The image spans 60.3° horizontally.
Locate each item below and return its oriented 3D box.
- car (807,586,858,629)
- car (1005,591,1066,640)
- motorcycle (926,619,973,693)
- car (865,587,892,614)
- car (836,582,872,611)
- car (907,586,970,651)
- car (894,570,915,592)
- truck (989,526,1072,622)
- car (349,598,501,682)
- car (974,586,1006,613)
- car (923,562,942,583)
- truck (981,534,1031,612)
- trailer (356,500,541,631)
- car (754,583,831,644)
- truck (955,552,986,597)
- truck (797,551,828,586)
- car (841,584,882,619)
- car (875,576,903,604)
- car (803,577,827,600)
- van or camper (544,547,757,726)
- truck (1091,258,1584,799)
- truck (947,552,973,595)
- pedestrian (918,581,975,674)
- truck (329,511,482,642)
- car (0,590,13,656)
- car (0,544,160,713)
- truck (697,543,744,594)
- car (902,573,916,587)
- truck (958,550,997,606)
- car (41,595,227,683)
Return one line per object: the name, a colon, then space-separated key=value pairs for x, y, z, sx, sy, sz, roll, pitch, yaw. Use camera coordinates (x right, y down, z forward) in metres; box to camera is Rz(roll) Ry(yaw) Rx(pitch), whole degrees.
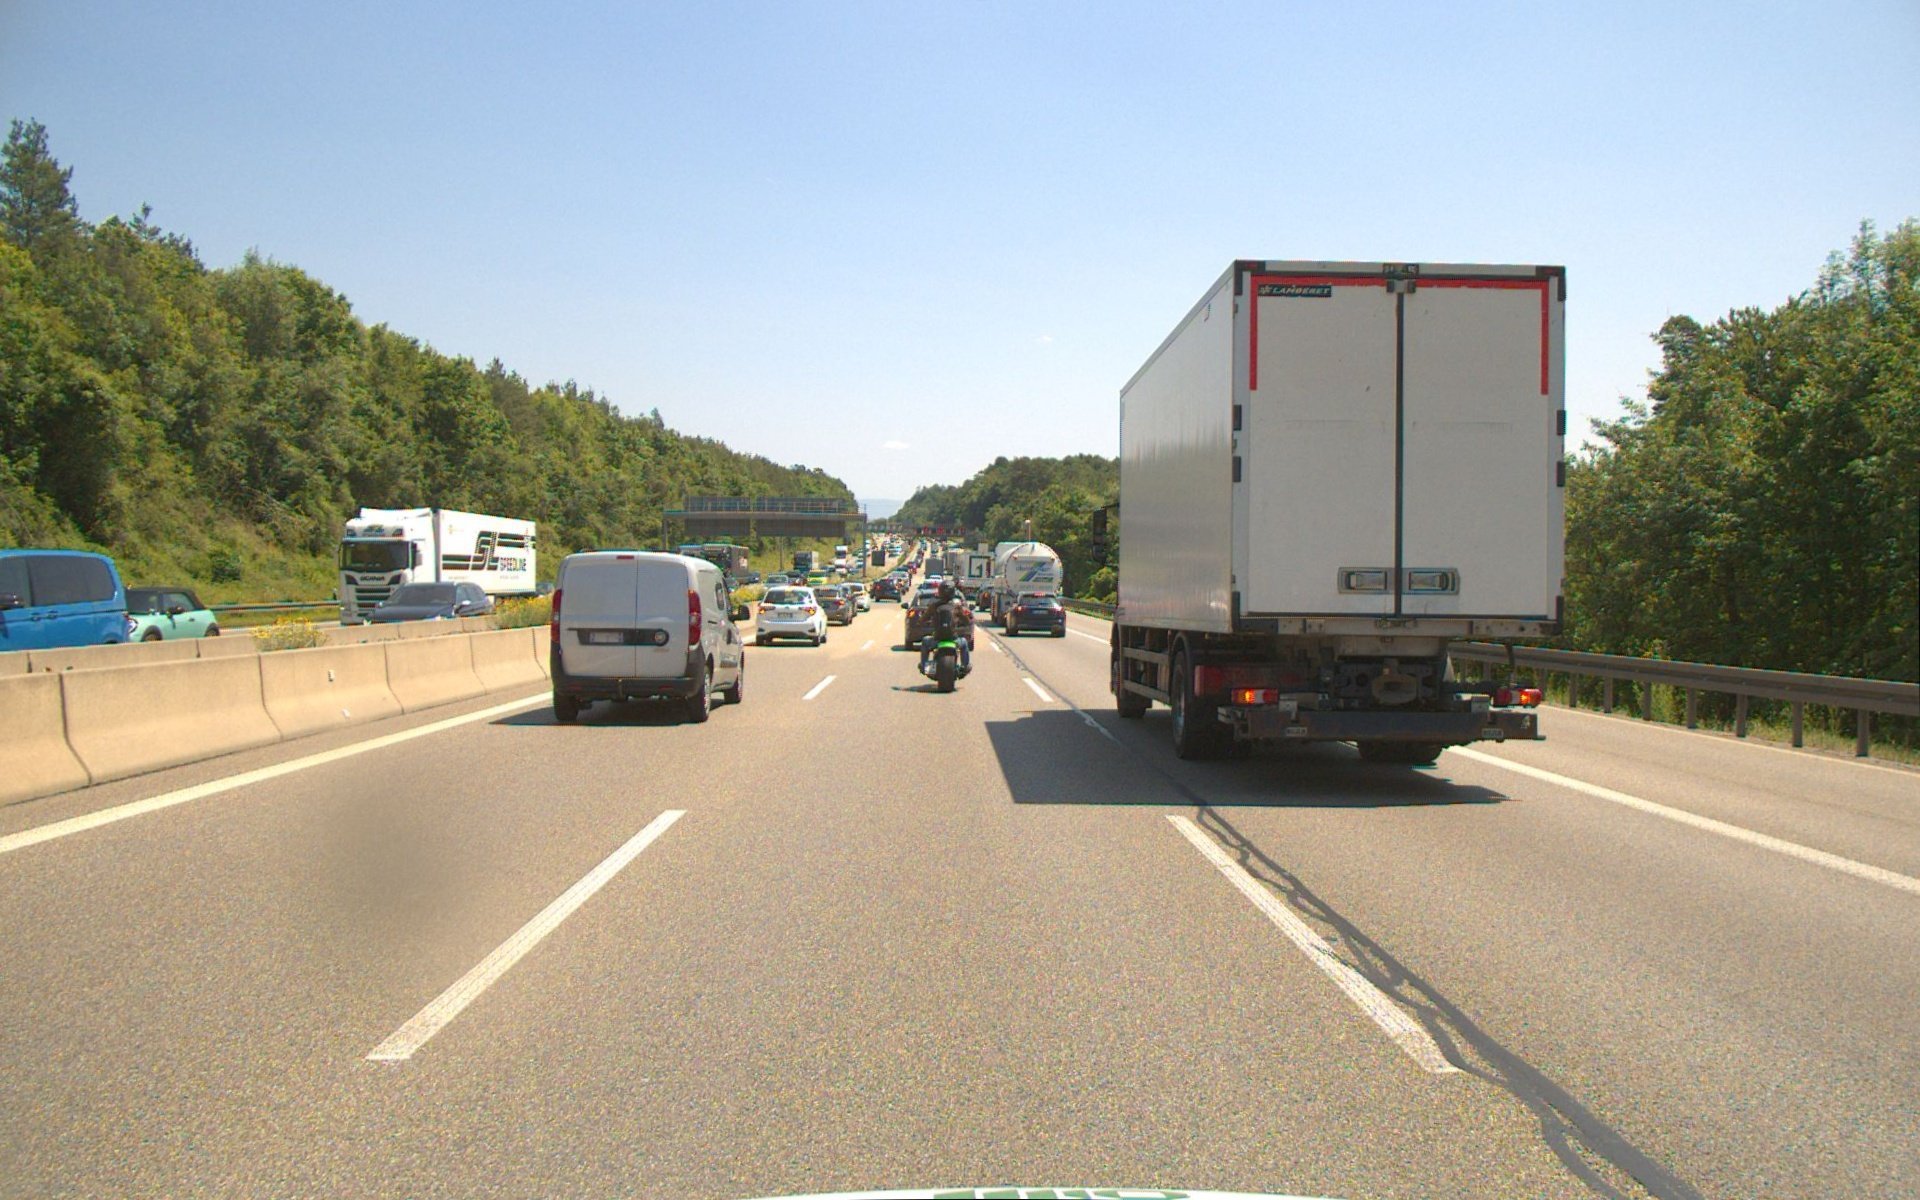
car: x=-4.748 y=0.261 z=62.085 sx=1.665 sy=1.504 sz=3.999 roll=1 pitch=1 yaw=-1
car: x=2.477 y=0.480 z=55.179 sx=1.791 sy=1.496 sz=3.999 roll=1 pitch=1 yaw=-1
motorcycle: x=-0.151 y=0.843 z=25.499 sx=0.677 sy=1.033 sz=2.121 roll=1 pitch=0 yaw=0
car: x=-6.409 y=0.078 z=130.460 sx=1.953 sy=2.049 sz=3.999 roll=-1 pitch=0 yaw=0
car: x=-5.587 y=-0.212 z=87.621 sx=1.665 sy=1.504 sz=3.999 roll=1 pitch=1 yaw=-1
car: x=-0.583 y=0.447 z=42.150 sx=1.502 sy=1.536 sz=3.999 roll=-1 pitch=0 yaw=-2
car: x=-5.548 y=-1.895 z=164.921 sx=1.890 sy=2.049 sz=3.999 roll=-1 pitch=0 yaw=0
truck: x=2.876 y=-0.993 z=70.231 sx=2.927 sy=3.735 sz=9.285 roll=-1 pitch=0 yaw=-1
car: x=-11.405 y=0.799 z=35.587 sx=1.867 sy=1.668 sz=4.536 roll=0 pitch=0 yaw=-1
car: x=1.761 y=-0.042 z=98.150 sx=1.751 sy=1.583 sz=3.803 roll=1 pitch=1 yaw=-1
car: x=-3.509 y=-3.448 z=211.208 sx=2.453 sy=2.632 sz=5.015 roll=1 pitch=1 yaw=-1
truck: x=2.174 y=-1.257 z=79.262 sx=1.954 sy=3.584 sz=4.748 roll=-1 pitch=0 yaw=-3
trailer: x=-19.161 y=-1.136 z=63.260 sx=2.746 sy=4.414 sz=14.035 roll=-1 pitch=0 yaw=0
car: x=-4.345 y=0.327 z=43.454 sx=1.665 sy=1.504 sz=3.999 roll=1 pitch=1 yaw=-1
truck: x=1.049 y=-2.715 z=178.256 sx=2.972 sy=4.621 sz=9.981 roll=2 pitch=1 yaw=-1
truck: x=-20.688 y=-4.409 z=232.393 sx=3.649 sy=4.607 sz=7.323 roll=-1 pitch=0 yaw=-2
car: x=-4.493 y=0.041 z=75.588 sx=1.665 sy=1.504 sz=3.999 roll=1 pitch=1 yaw=-1
car: x=-5.033 y=-0.728 z=117.775 sx=1.842 sy=1.892 sz=4.000 roll=1 pitch=1 yaw=-1
car: x=-13.693 y=-1.044 z=156.410 sx=1.841 sy=2.049 sz=4.467 roll=-2 pitch=0 yaw=-1
van or camper: x=-3.631 y=0.405 z=20.116 sx=1.759 sy=1.925 sz=4.160 roll=1 pitch=0 yaw=0
truck: x=3.208 y=-0.560 z=17.227 sx=2.634 sy=3.944 sz=9.778 roll=-2 pitch=0 yaw=-1
truck: x=0.004 y=-3.277 z=207.229 sx=2.972 sy=5.229 sz=9.981 roll=2 pitch=1 yaw=-1
pedestrian: x=-0.201 y=0.411 z=25.420 sx=0.832 sy=1.385 sz=0.961 roll=-1 pitch=0 yaw=0
truck: x=-19.120 y=-0.743 z=57.523 sx=2.746 sy=4.238 sz=7.598 roll=-1 pitch=0 yaw=0
car: x=-22.536 y=0.525 z=35.885 sx=1.633 sy=1.492 sz=4.189 roll=0 pitch=0 yaw=-1
car: x=-11.594 y=0.345 z=19.532 sx=1.873 sy=1.879 sz=5.035 roll=-1 pitch=0 yaw=-1
truck: x=-20.164 y=-2.628 z=139.674 sx=2.847 sy=4.043 sz=7.767 roll=-1 pitch=0 yaw=-1
car: x=-7.608 y=-2.942 z=247.781 sx=1.953 sy=2.049 sz=4.000 roll=1 pitch=1 yaw=-1
truck: x=1.457 y=-1.908 z=142.938 sx=2.972 sy=4.621 sz=9.981 roll=2 pitch=1 yaw=-1
car: x=-14.990 y=0.682 z=30.218 sx=1.550 sy=1.470 sz=3.729 roll=-1 pitch=0 yaw=-1
